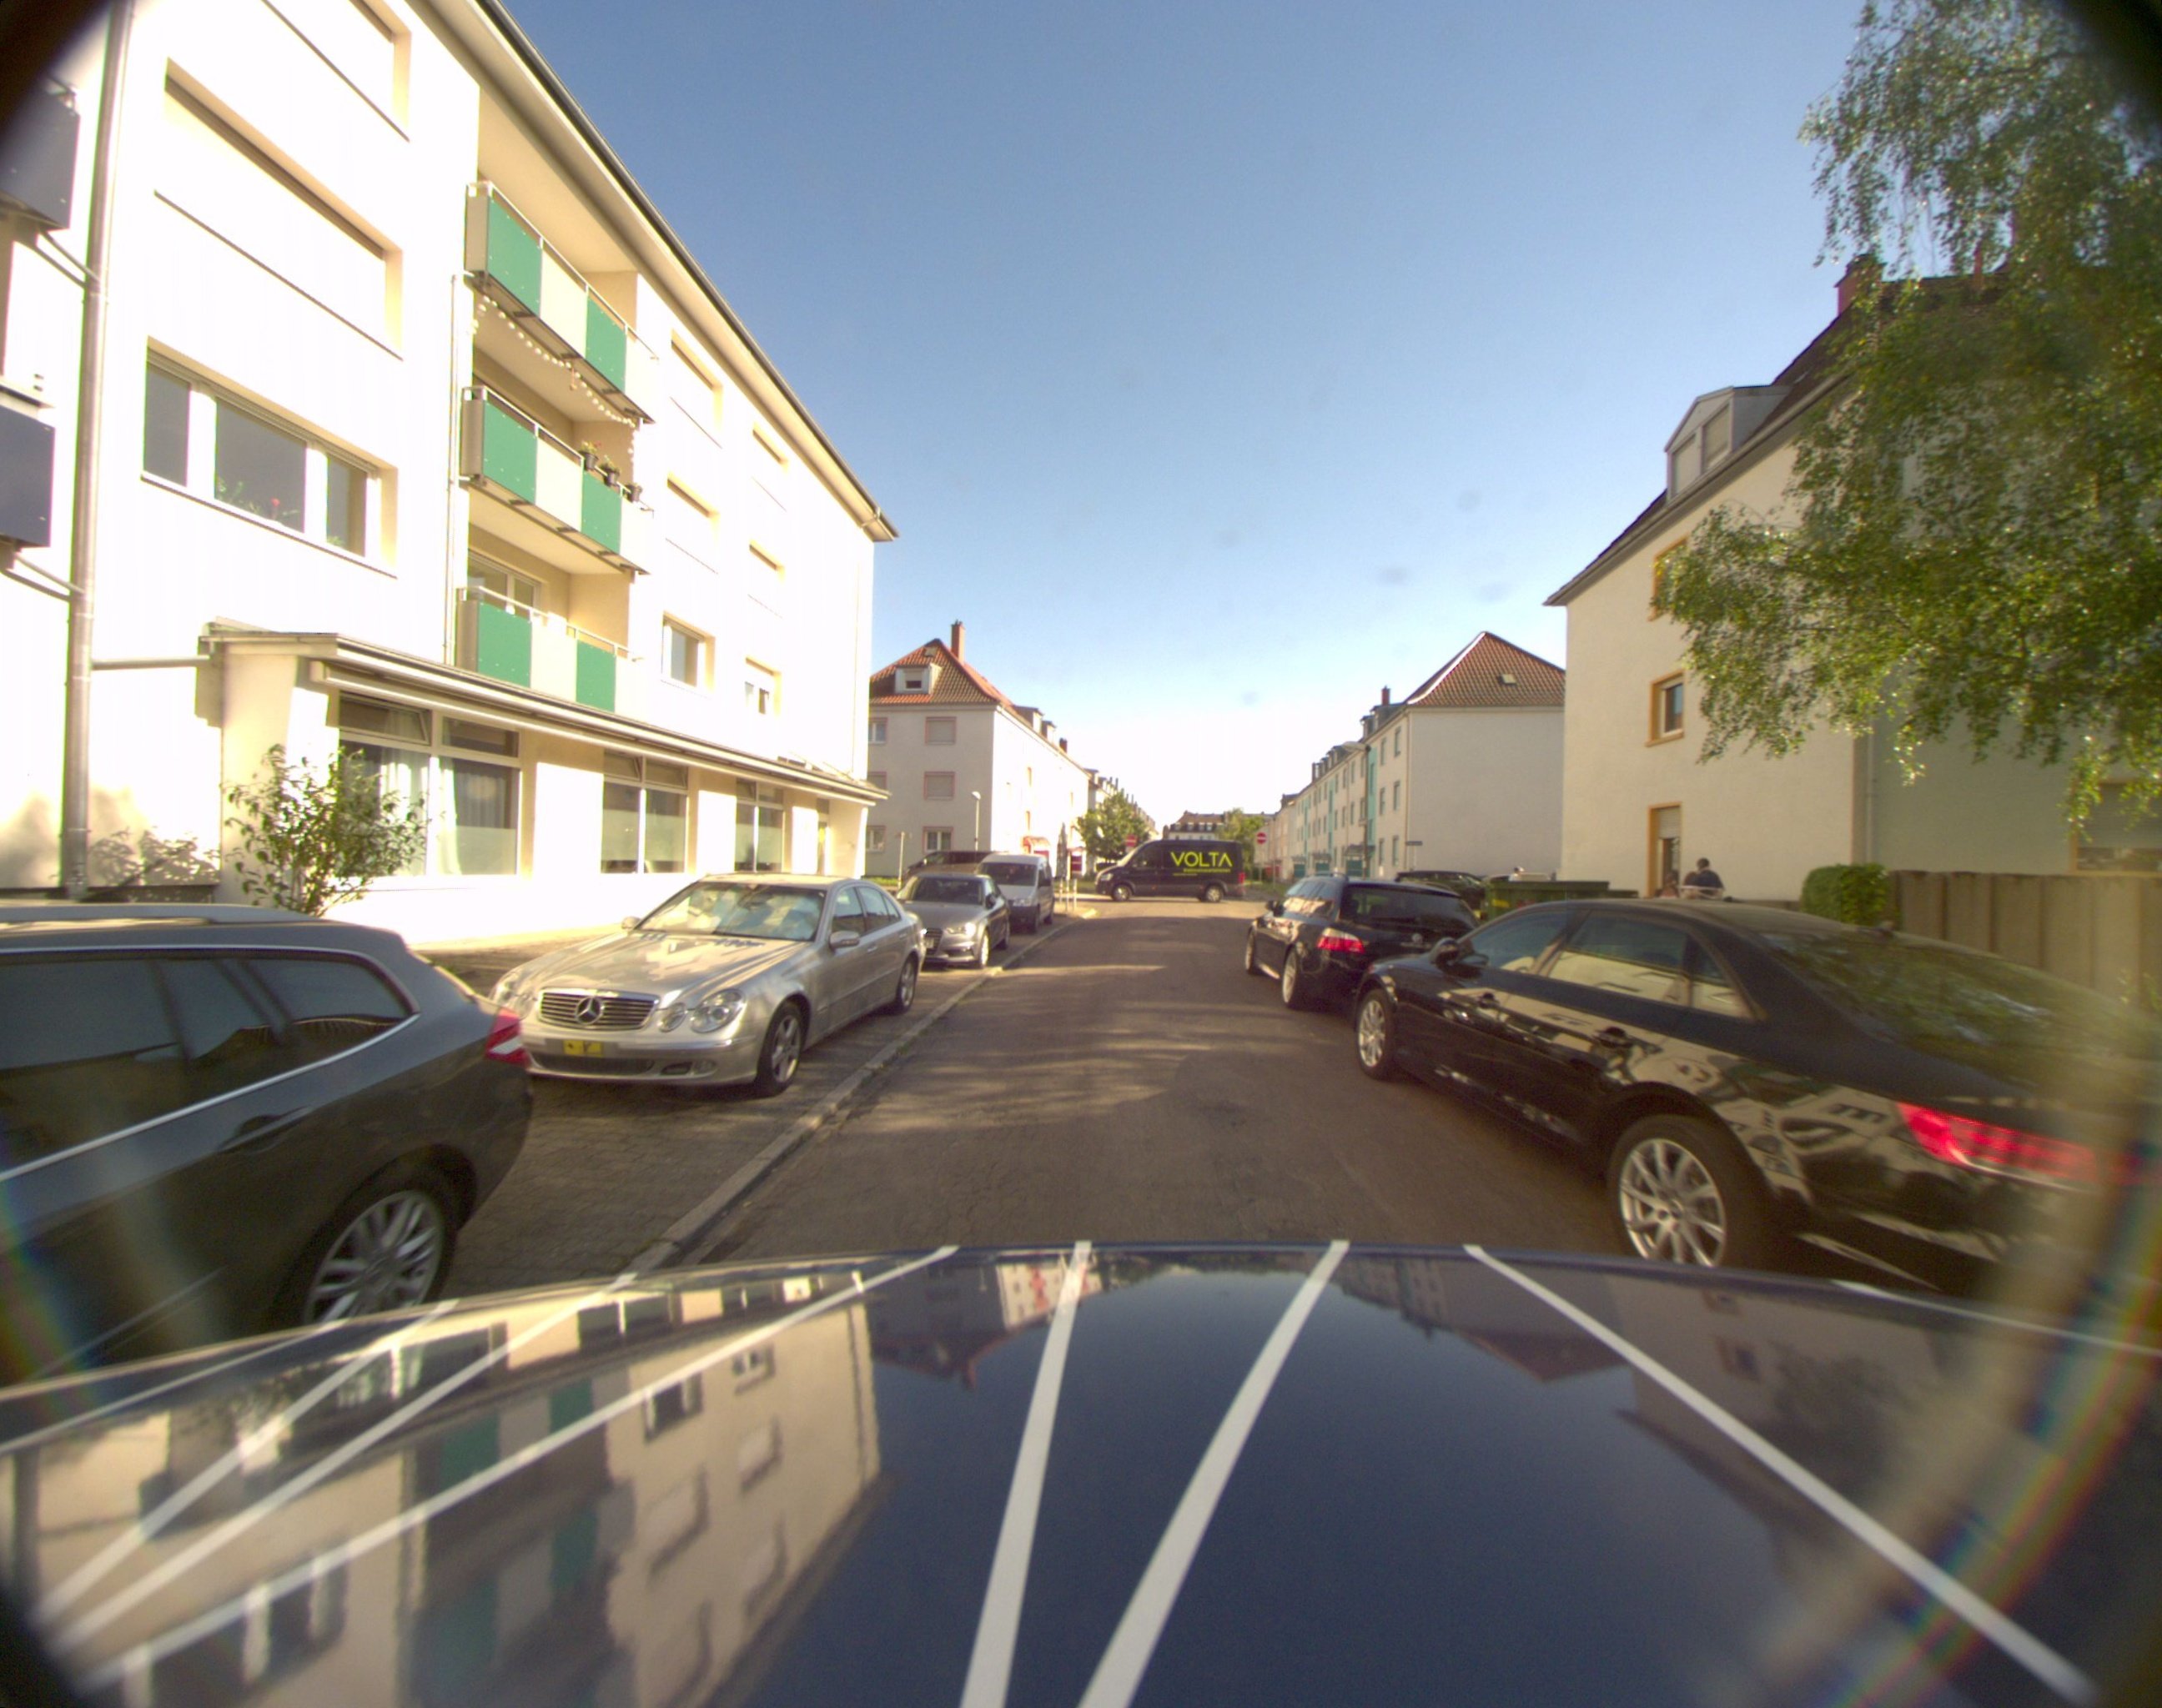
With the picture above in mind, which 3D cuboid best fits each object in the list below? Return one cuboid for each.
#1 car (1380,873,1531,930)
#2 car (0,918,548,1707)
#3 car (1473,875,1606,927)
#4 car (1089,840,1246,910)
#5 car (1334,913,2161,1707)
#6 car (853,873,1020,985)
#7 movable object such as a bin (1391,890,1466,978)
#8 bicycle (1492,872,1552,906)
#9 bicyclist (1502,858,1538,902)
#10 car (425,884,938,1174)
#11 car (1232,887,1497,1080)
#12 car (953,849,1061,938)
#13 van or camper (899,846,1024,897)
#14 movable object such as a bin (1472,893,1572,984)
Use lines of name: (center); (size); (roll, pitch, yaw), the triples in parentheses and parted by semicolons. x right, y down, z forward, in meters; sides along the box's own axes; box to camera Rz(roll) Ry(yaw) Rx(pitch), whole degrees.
car: (13.373, 1.674, 27.372); (4.495, 1.654, 1.721); (3, 1, 9)
car: (-2.821, 0.952, 0.683); (1.699, 1.423, 4.686); (1, 0, -5)
car: (17.968, 1.801, 29.973); (3.993, 1.685, 1.867); (4, -1, 10)
car: (3.427, 0.848, 30.812); (5.958, 2.529, 2.000); (2, -1, -3)
car: (2.852, 1.228, 3.641); (1.682, 1.434, 4.280); (6, 0, 0)
car: (-2.199, 1.109, 12.886); (1.682, 1.398, 4.547); (4, -1, 3)
movable object such as a bin: (6.097, 1.370, 13.417); (0.777, 1.384, 1.418); (3, 0, 8)
bicycle: (16.625, 1.309, 28.669); (1.814, 1.109, 0.629); (5, 1, 4)
bicyclist: (16.572, 0.963, 28.693); (0.906, 1.569, 0.598); (4, 0, 3)
car: (-2.689, 1.055, 6.590); (1.681, 1.438, 4.726); (1, 0, 4)
car: (2.980, 1.250, 9.102); (1.681, 1.444, 4.623); (5, 0, 5)
car: (-1.650, 0.877, 18.417); (1.750, 1.813, 4.134); (4, -1, 5)
van or camper: (-5.307, 0.800, 34.165); (5.133, 2.001, 2.002); (2, -2, 6)
movable object such as a bin: (7.252, 1.368, 12.547); (1.221, 1.372, 0.768); (2, 0, 12)
